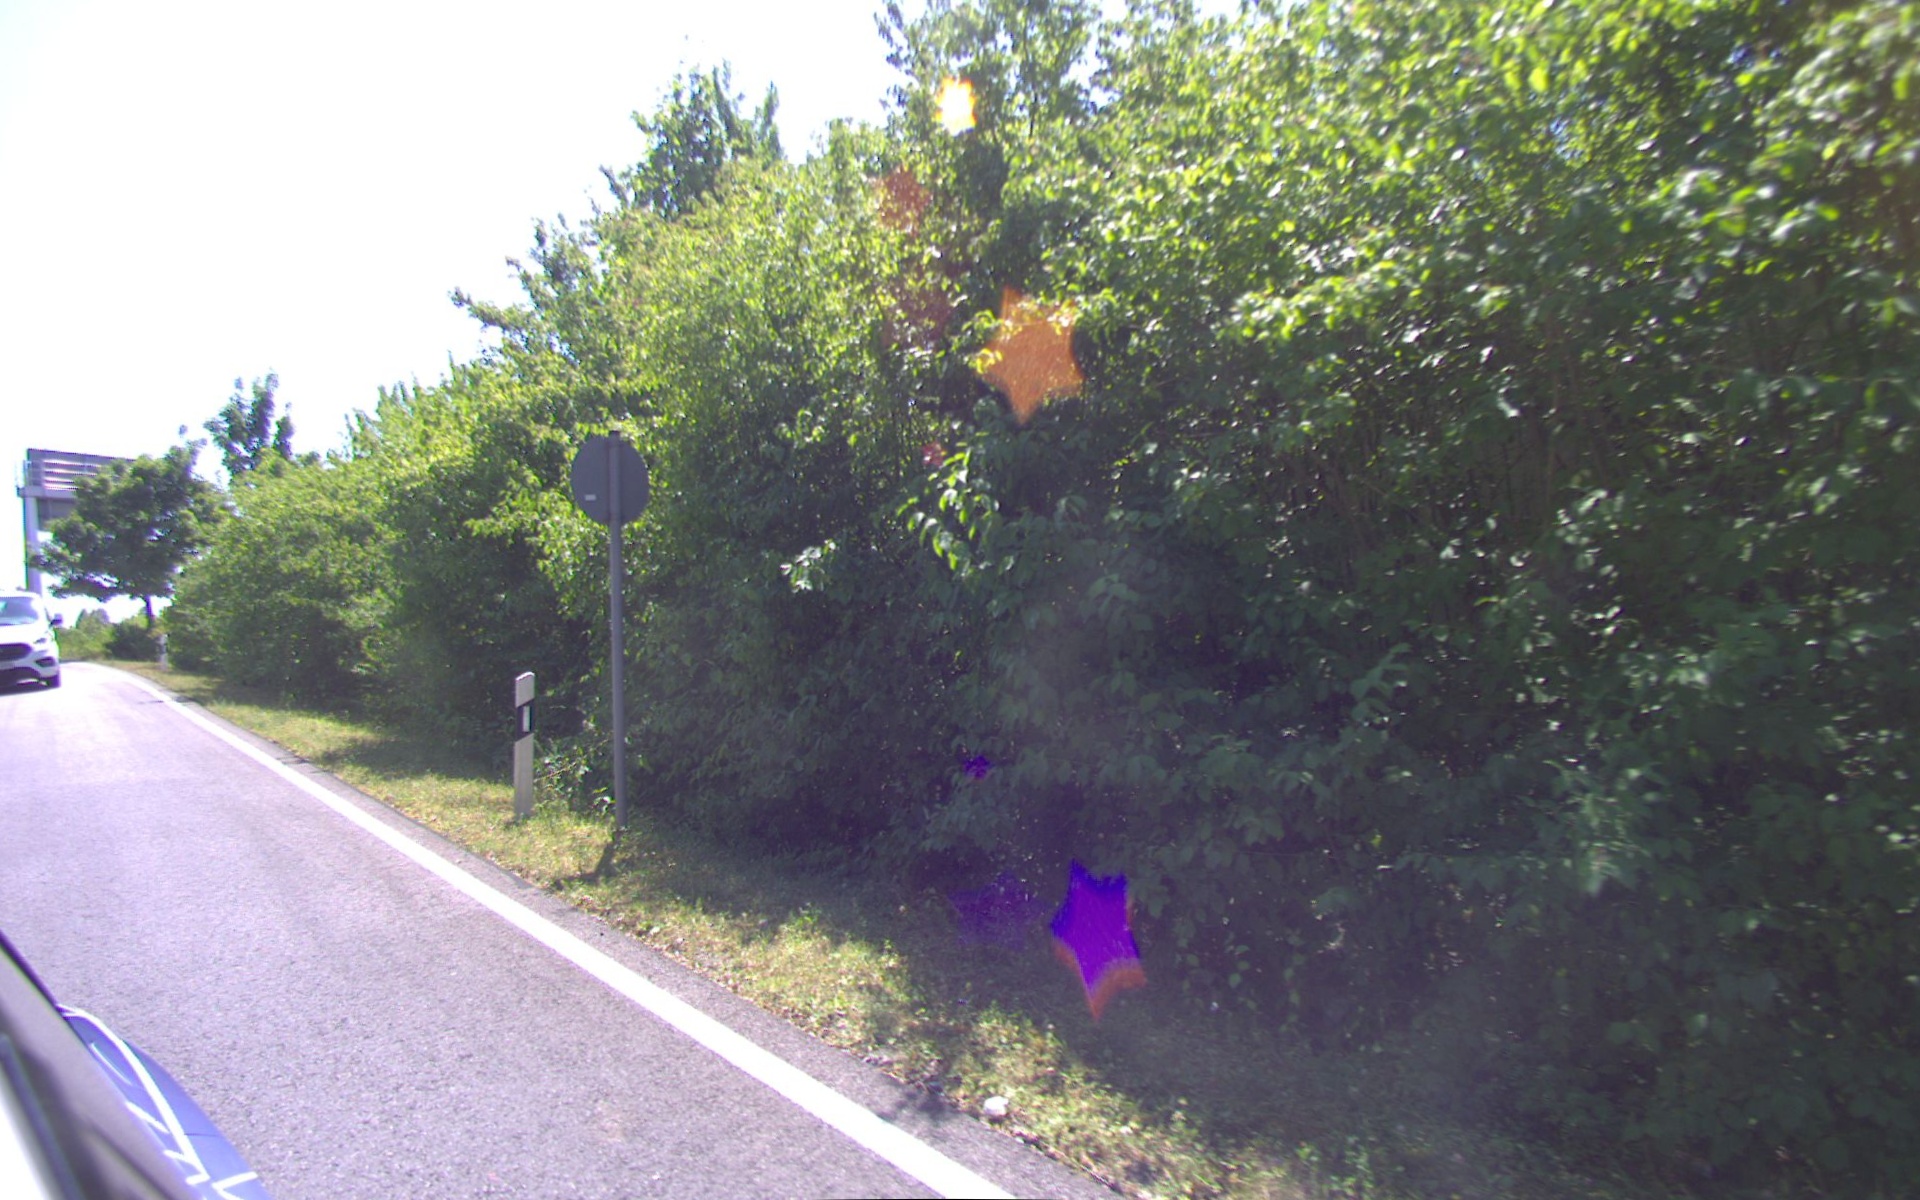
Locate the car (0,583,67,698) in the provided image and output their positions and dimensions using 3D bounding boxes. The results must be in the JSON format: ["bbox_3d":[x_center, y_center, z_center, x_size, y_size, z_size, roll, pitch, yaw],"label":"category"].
[{"bbox_3d":[-19.805,0.852,20.622,2.002,2.100,5.875,-3,0,-45],"label":"car"}]
